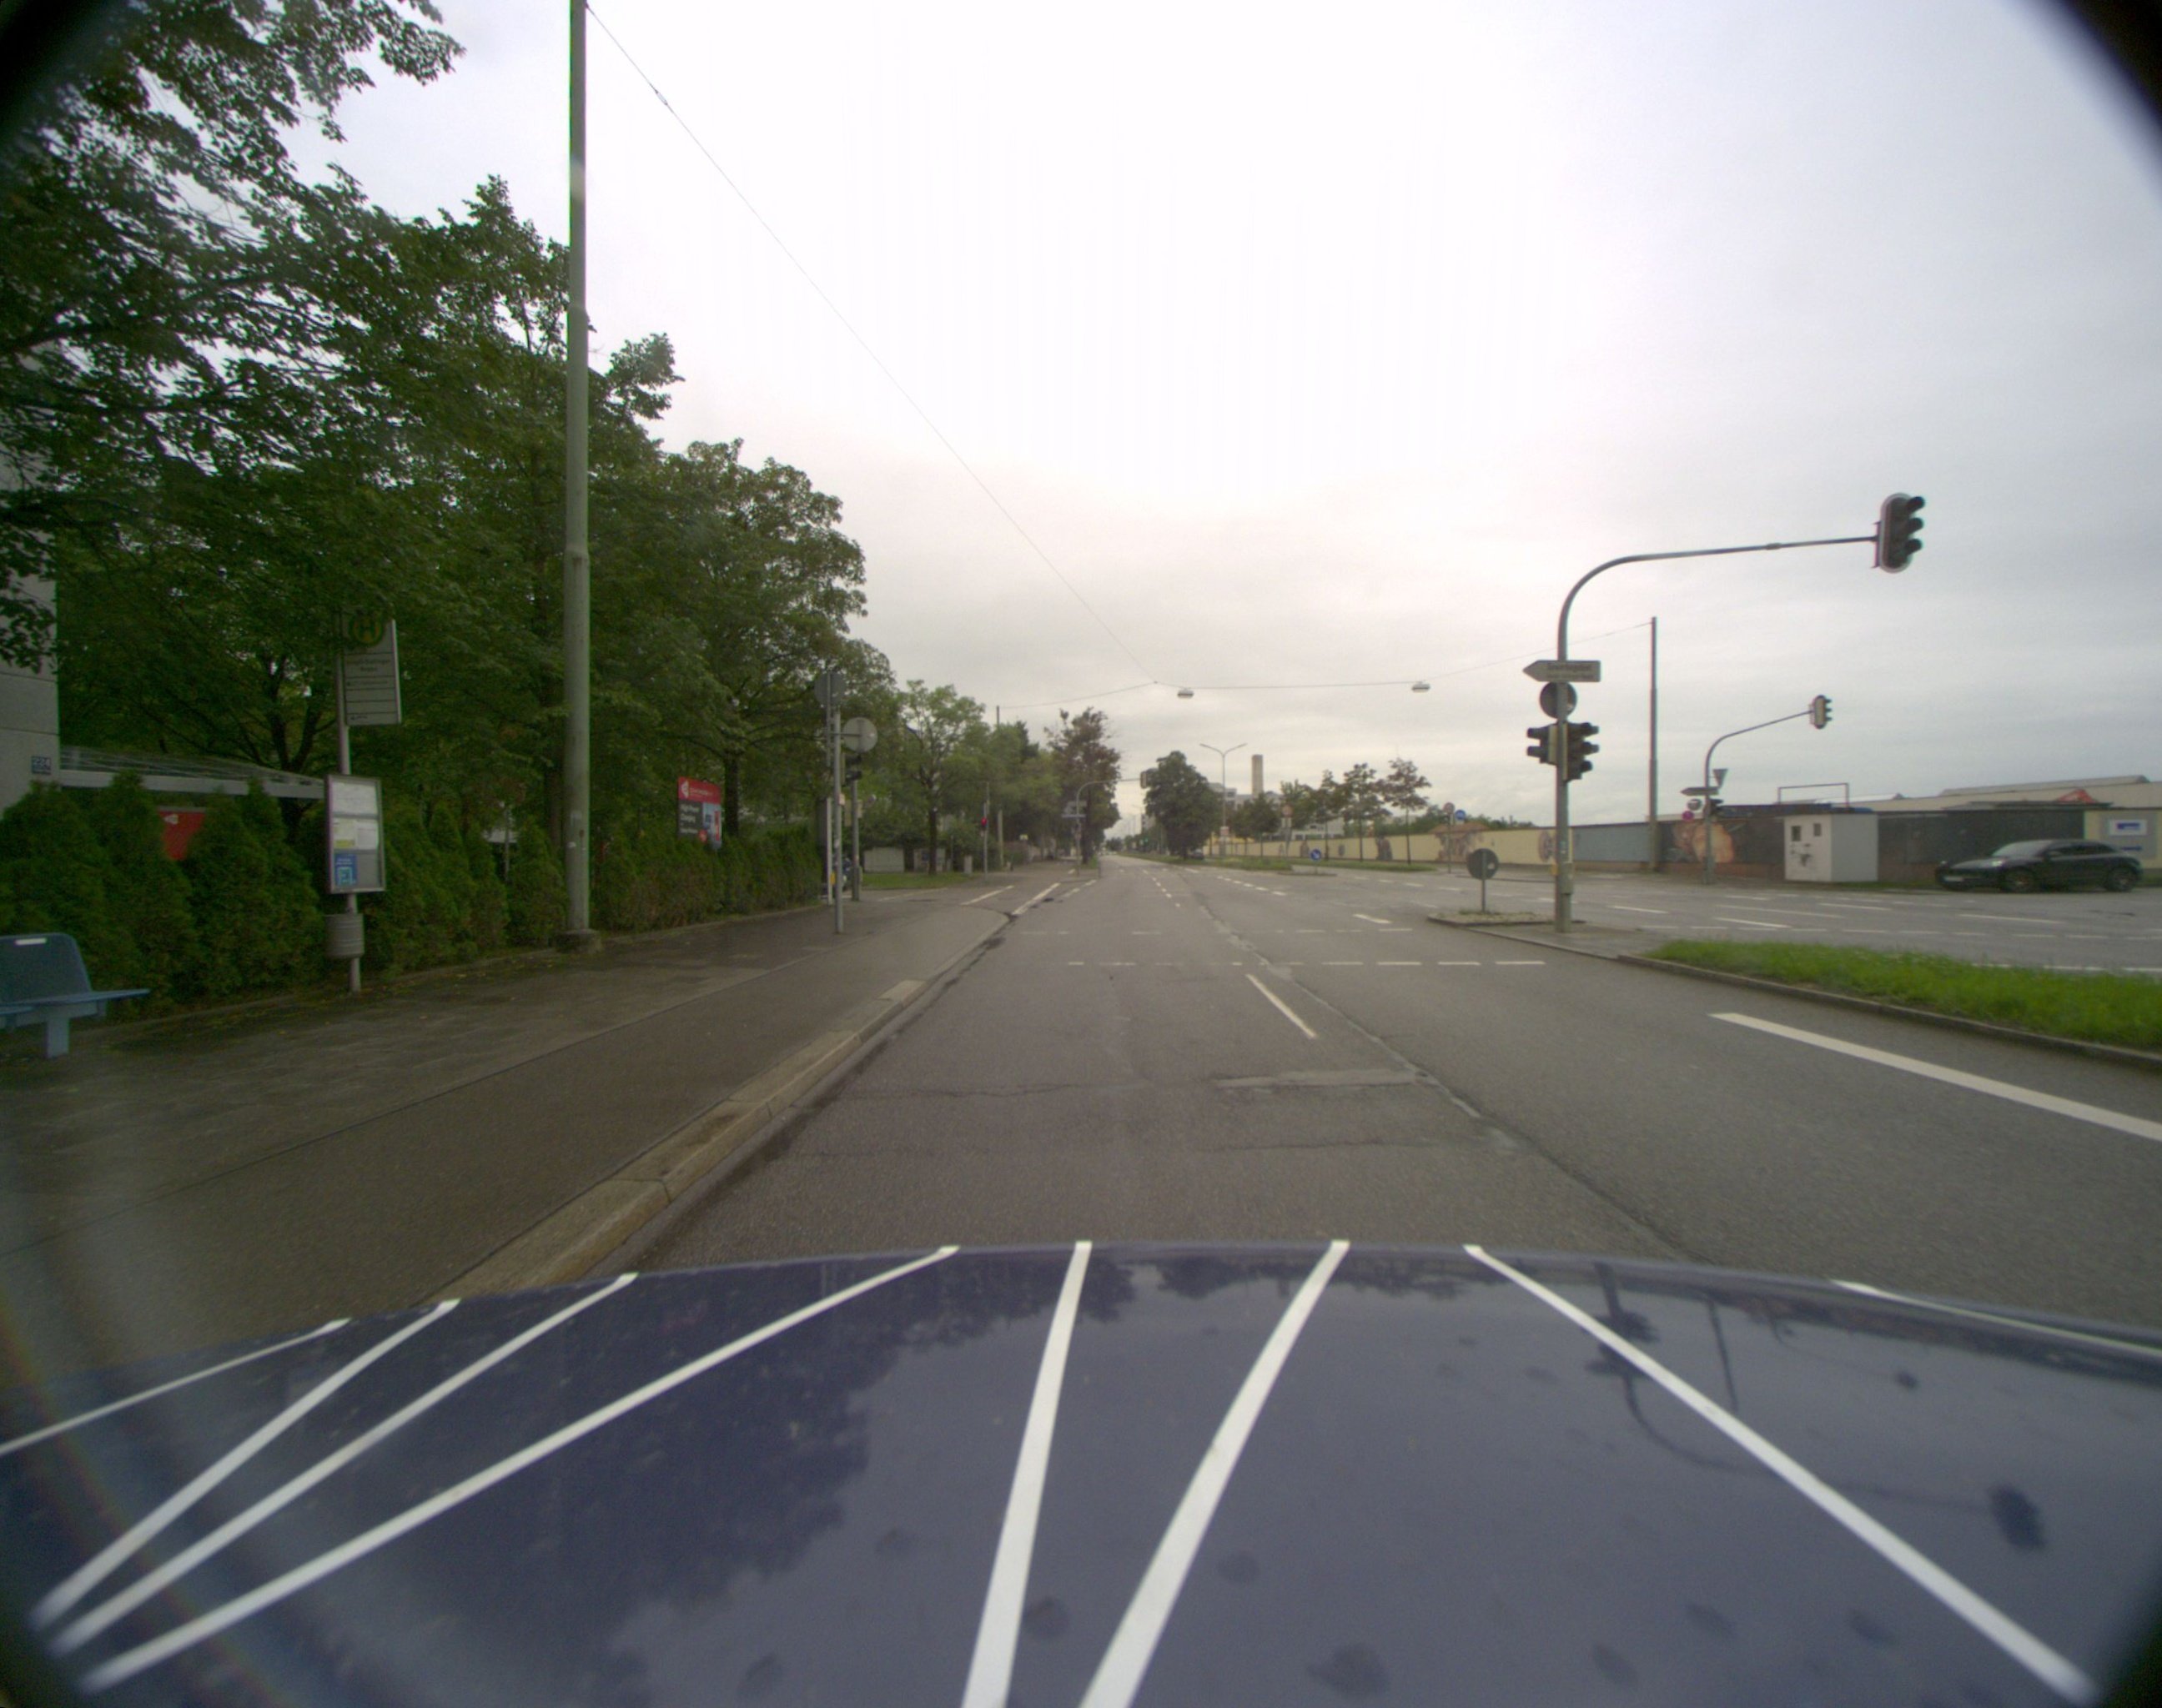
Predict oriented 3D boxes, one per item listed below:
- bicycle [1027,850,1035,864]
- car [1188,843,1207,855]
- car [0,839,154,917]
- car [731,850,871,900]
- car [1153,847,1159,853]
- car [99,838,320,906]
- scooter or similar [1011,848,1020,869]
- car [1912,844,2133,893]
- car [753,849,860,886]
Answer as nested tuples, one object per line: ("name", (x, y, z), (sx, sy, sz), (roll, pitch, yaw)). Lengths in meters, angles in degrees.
("bicycle", (-4.793, 0.286, 72.572), (0.583, 1.288, 2.454), (0, 1, -1))
("car", (15.240, -0.605, 99.448), (1.916, 1.498, 4.439), (1, 1, 2))
("car", (-21.159, 0.404, 15.227), (4.167, 1.410, 1.872), (1, 1, 18))
("car", (-10.320, 0.776, 28.011), (4.779, 1.712, 2.003), (-1, 0, 24))
("car", (20.996, -1.184, 212.575), (1.488, 1.706, 3.550), (0, 1, 0))
("car", (-20.053, 0.369, 17.512), (4.167, 1.410, 1.872), (1, 1, 18))
("scooter or similar", (-4.590, 0.314, 53.224), (0.371, 1.416, 1.403), (0, 1, -14))
("car", (29.401, 0.430, 23.854), (4.260, 1.419, 2.000), (-1, 1, 4))
("car", (-13.010, 0.616, 36.165), (4.276, 1.566, 2.001), (-1, 3, 10))
